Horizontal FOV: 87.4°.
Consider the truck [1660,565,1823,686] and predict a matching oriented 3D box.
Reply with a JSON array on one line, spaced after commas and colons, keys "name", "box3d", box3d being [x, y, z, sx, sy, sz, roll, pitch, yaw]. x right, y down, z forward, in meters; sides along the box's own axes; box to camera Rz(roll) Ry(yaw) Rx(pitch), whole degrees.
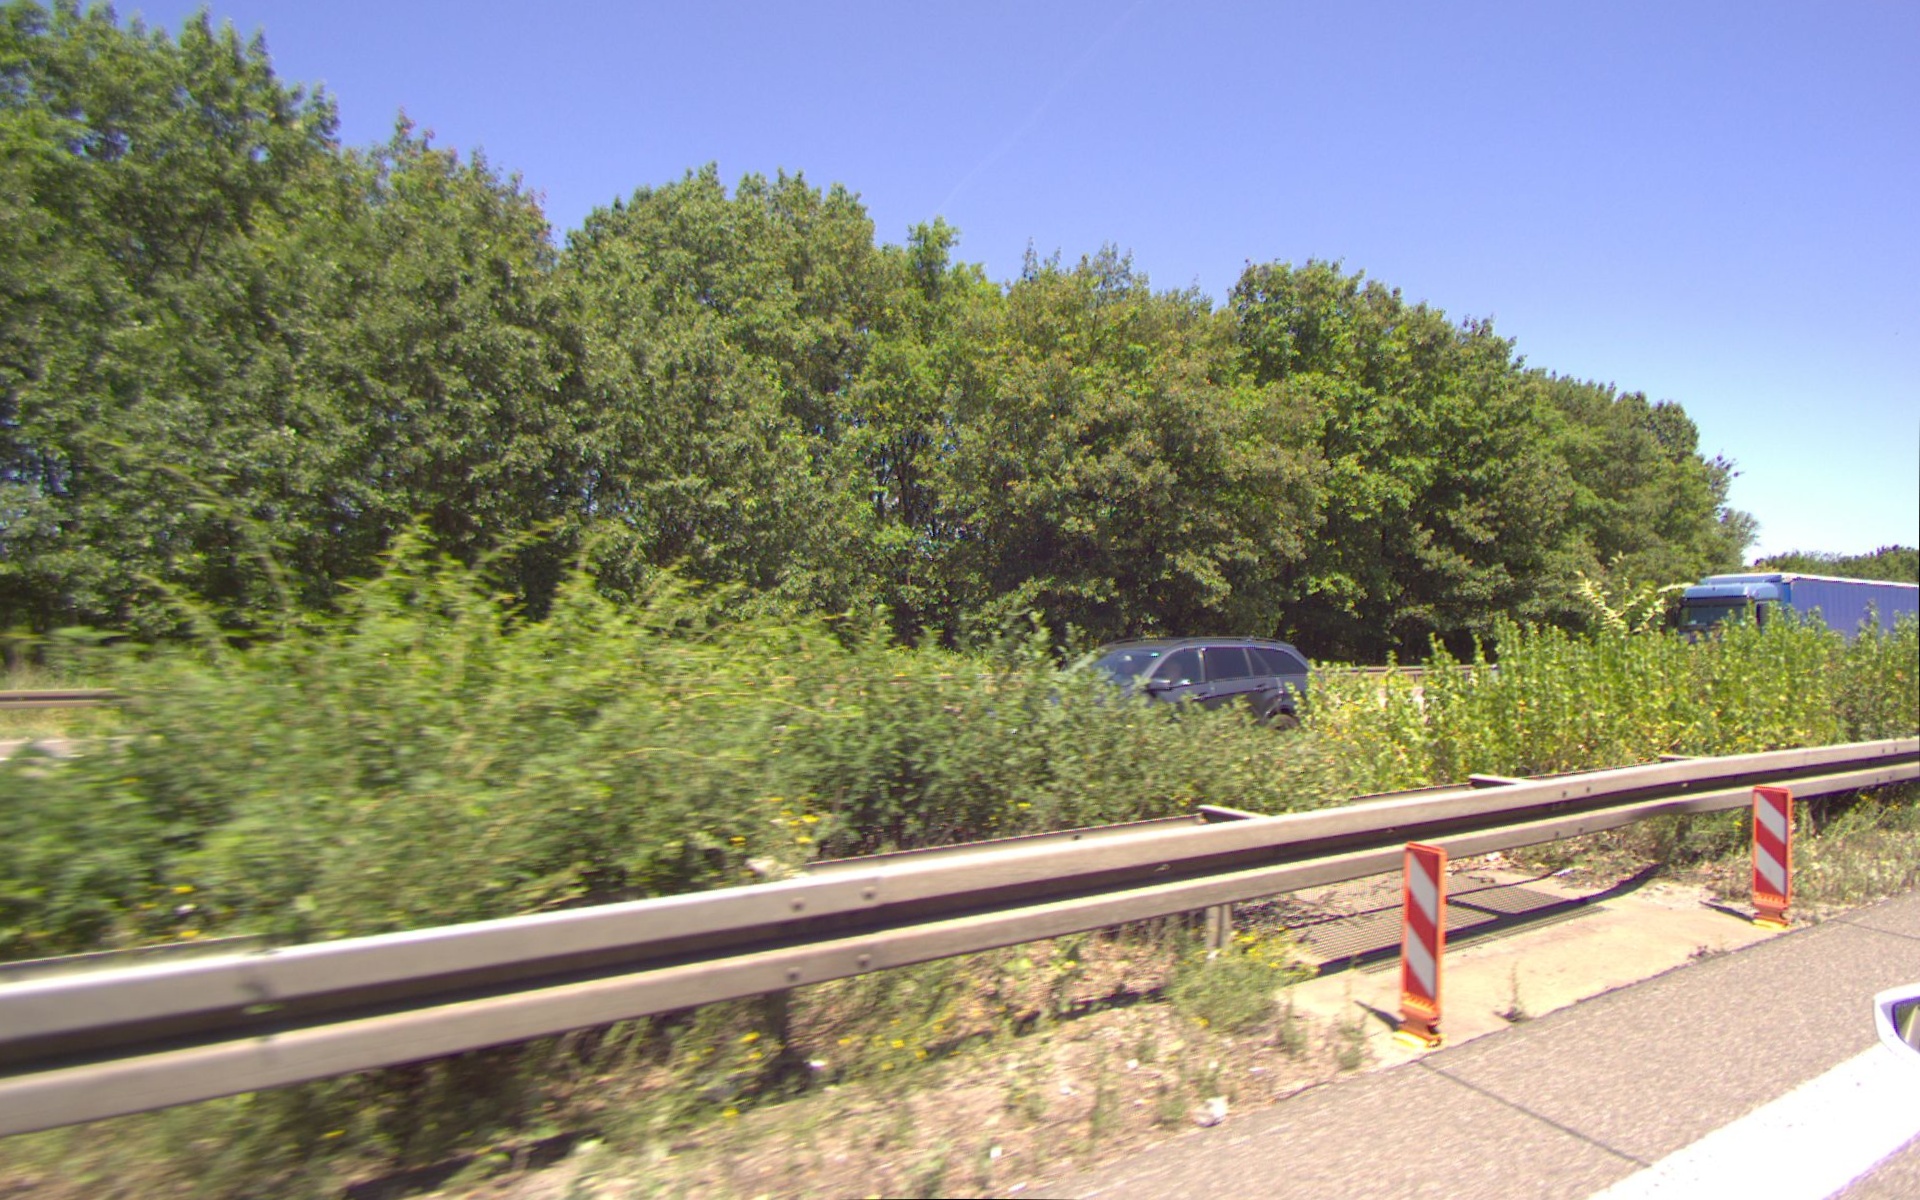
[{"name": "truck", "box3d": [28.035, 0.928, 35.987, 5.807, 4.024, 2.802, 2, -1, -32]}]

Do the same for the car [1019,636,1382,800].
[{"name": "car", "box3d": [2.970, 1.277, 12.097, 4.295, 1.641, 1.800, 2, -2, -32]}]

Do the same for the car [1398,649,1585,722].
[{"name": "car", "box3d": [11.597, 1.791, 21.848, 4.295, 1.433, 1.699, 2, -2, -32]}]

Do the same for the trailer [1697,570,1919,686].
[{"name": "trailer", "box3d": [33.848, 1.141, 39.601, 13.651, 4.023, 2.828, 2, -1, -32]}]
